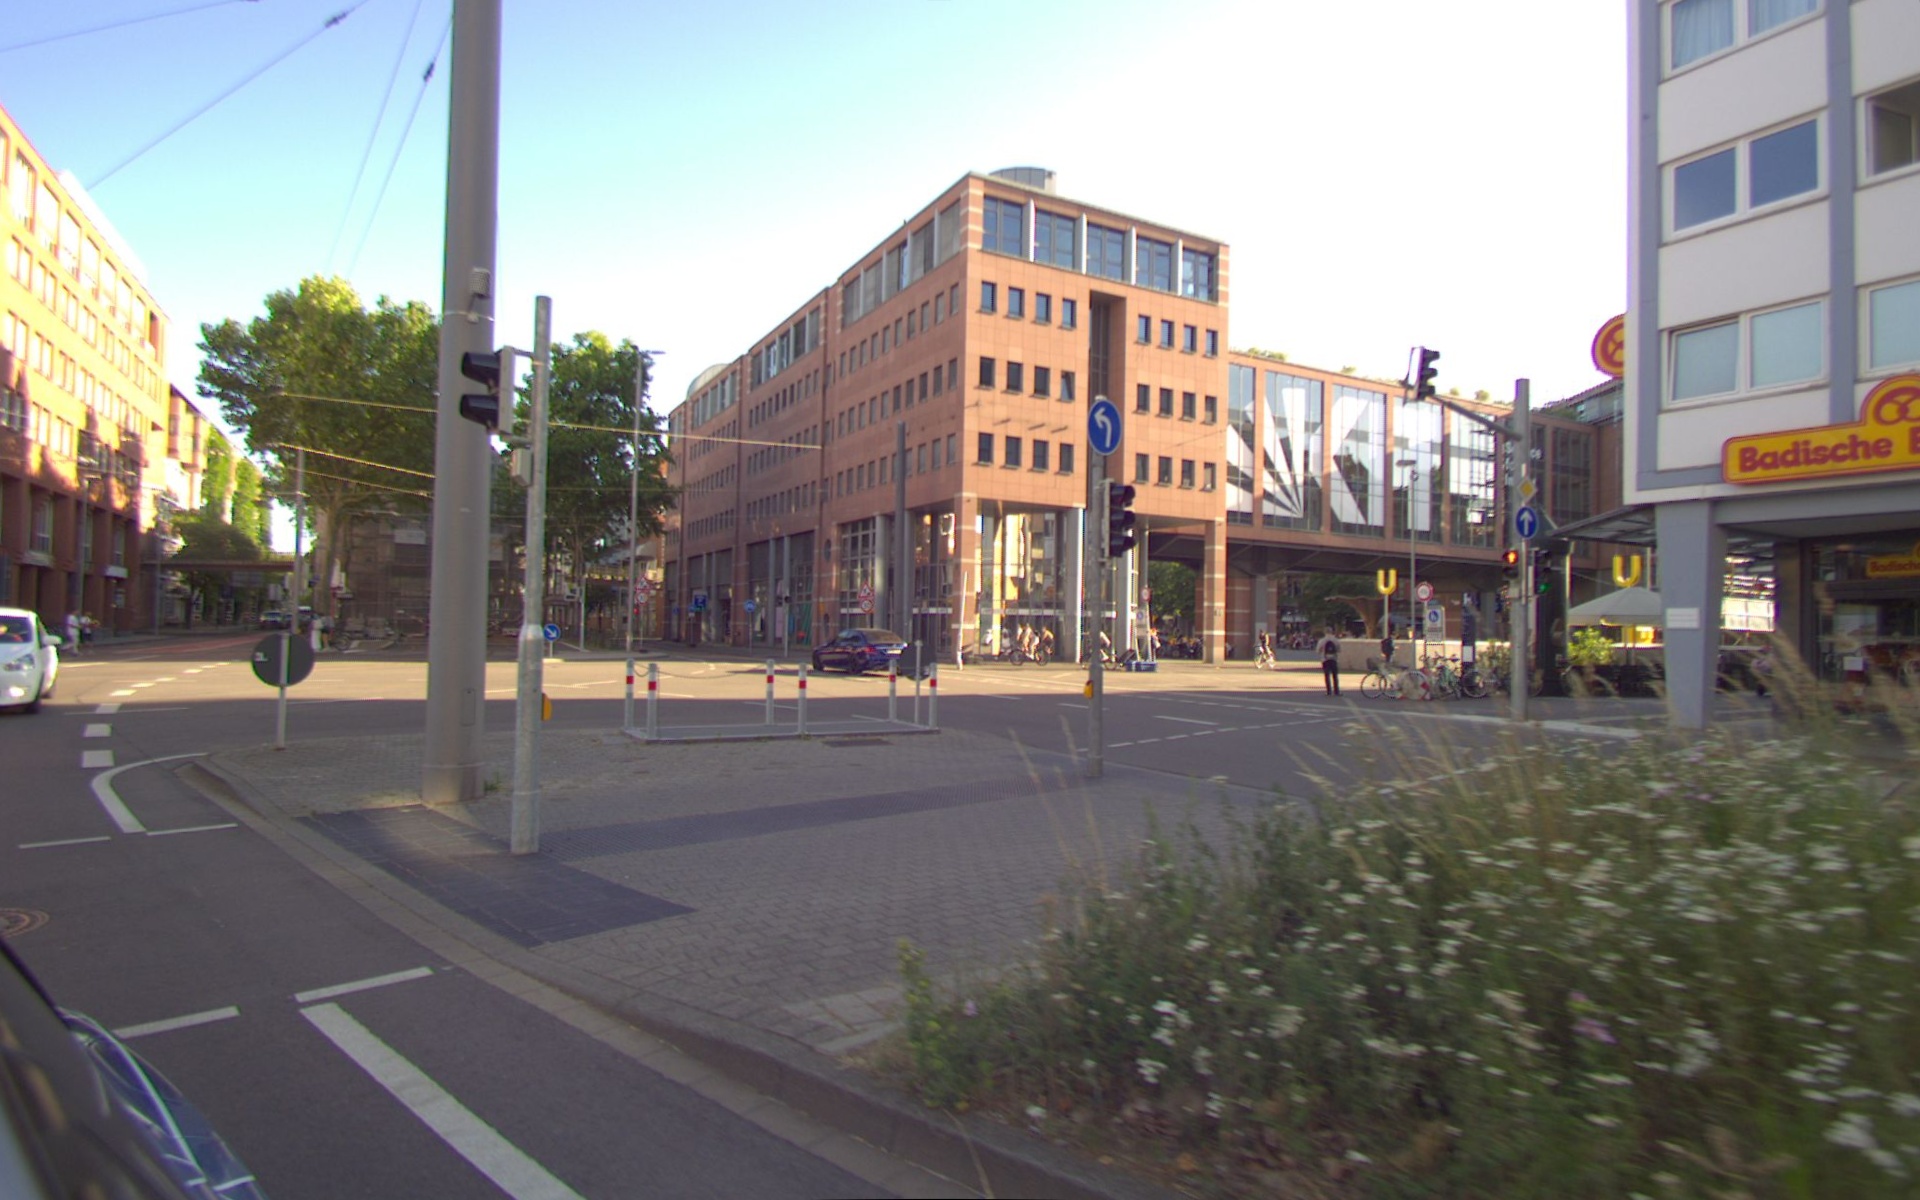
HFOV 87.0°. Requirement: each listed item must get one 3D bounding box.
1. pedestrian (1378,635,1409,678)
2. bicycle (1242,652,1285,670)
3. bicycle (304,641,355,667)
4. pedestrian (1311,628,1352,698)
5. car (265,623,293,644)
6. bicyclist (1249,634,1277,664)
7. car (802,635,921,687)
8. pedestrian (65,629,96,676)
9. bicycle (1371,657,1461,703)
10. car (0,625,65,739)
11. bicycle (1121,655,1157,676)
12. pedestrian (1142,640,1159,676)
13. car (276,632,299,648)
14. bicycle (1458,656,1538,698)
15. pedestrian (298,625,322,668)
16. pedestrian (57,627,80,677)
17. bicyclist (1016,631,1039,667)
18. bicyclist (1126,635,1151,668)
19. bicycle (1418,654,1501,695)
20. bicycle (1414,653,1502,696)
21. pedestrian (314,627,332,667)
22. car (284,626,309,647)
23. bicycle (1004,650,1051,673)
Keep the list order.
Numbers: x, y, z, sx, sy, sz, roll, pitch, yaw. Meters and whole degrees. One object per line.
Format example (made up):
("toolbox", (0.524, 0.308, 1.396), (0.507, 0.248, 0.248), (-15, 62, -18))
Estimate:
("pedestrian", (17.077, 2.219, 39.877), (0.897, 1.678, 0.882), (1, -2, 7))
("bicycle", (14.075, 2.842, 46.982), (1.984, 0.814, 0.782), (2, -2, -31))
("bicycle", (-27.115, 2.310, 43.551), (1.803, 1.087, 0.482), (2, -2, -28))
("pedestrian", (9.754, 1.642, 26.569), (0.619, 1.805, 0.787), (2, -3, -28))
("car", (-68.908, 3.369, 102.408), (1.892, 2.094, 5.186), (2, -2, -29))
("bicyclist", (14.090, 2.280, 47.000), (1.004, 1.350, 0.782), (2, -2, -31))
("car", (-3.144, 1.848, 31.522), (1.807, 1.396, 4.609), (3, -2, -32))
("pedestrian", (-33.110, 1.968, 38.094), (0.624, 1.738, 0.632), (2, -2, -18))
("bicycle", (11.429, 1.994, 25.410), (2.002, 1.061, 0.589), (-1, -3, 36))
("car", (-14.732, 1.134, 15.090), (1.780, 1.512, 4.209), (2, -2, -38))
("bicycle", (7.352, 2.679, 41.514), (0.616, 0.814, 1.993), (-1, -2, 38))
("pedestrian", (8.442, 2.566, 44.814), (0.563, 1.548, 0.483), (-2, -3, 44))
("car", (-75.171, 4.412, 113.092), (1.762, 1.683, 4.454), (2, -2, -29))
("bicycle", (14.896, 2.119, 28.068), (0.586, 1.061, 2.013), (2, -3, -25))
("pedestrian", (-27.128, 1.943, 42.251), (0.767, 1.747, 0.851), (3, -2, -32))
("pedestrian", (-32.537, 1.881, 36.944), (0.469, 1.806, 0.542), (2, -2, -29))
("bicyclist", (2.794, 2.026, 42.096), (0.736, 1.496, 0.585), (2, -3, -27))
("bicyclist", (7.306, 2.121, 41.461), (0.616, 1.322, 0.945), (-1, -3, 38))
("bicycle", (13.771, 2.040, 27.976), (0.587, 1.061, 2.010), (3, -3, -37))
("bicycle", (13.215, 1.962, 26.910), (2.006, 1.061, 0.588), (-1, -3, 44))
("pedestrian", (-27.119, 1.990, 43.098), (0.558, 1.692, 0.532), (2, -2, -27))
("car", (-83.405, 4.580, 127.359), (2.085, 2.584, 5.923), (2, -2, -29))
("bicycle", (2.813, 2.559, 42.086), (1.931, 0.919, 0.585), (1, -2, -26))
